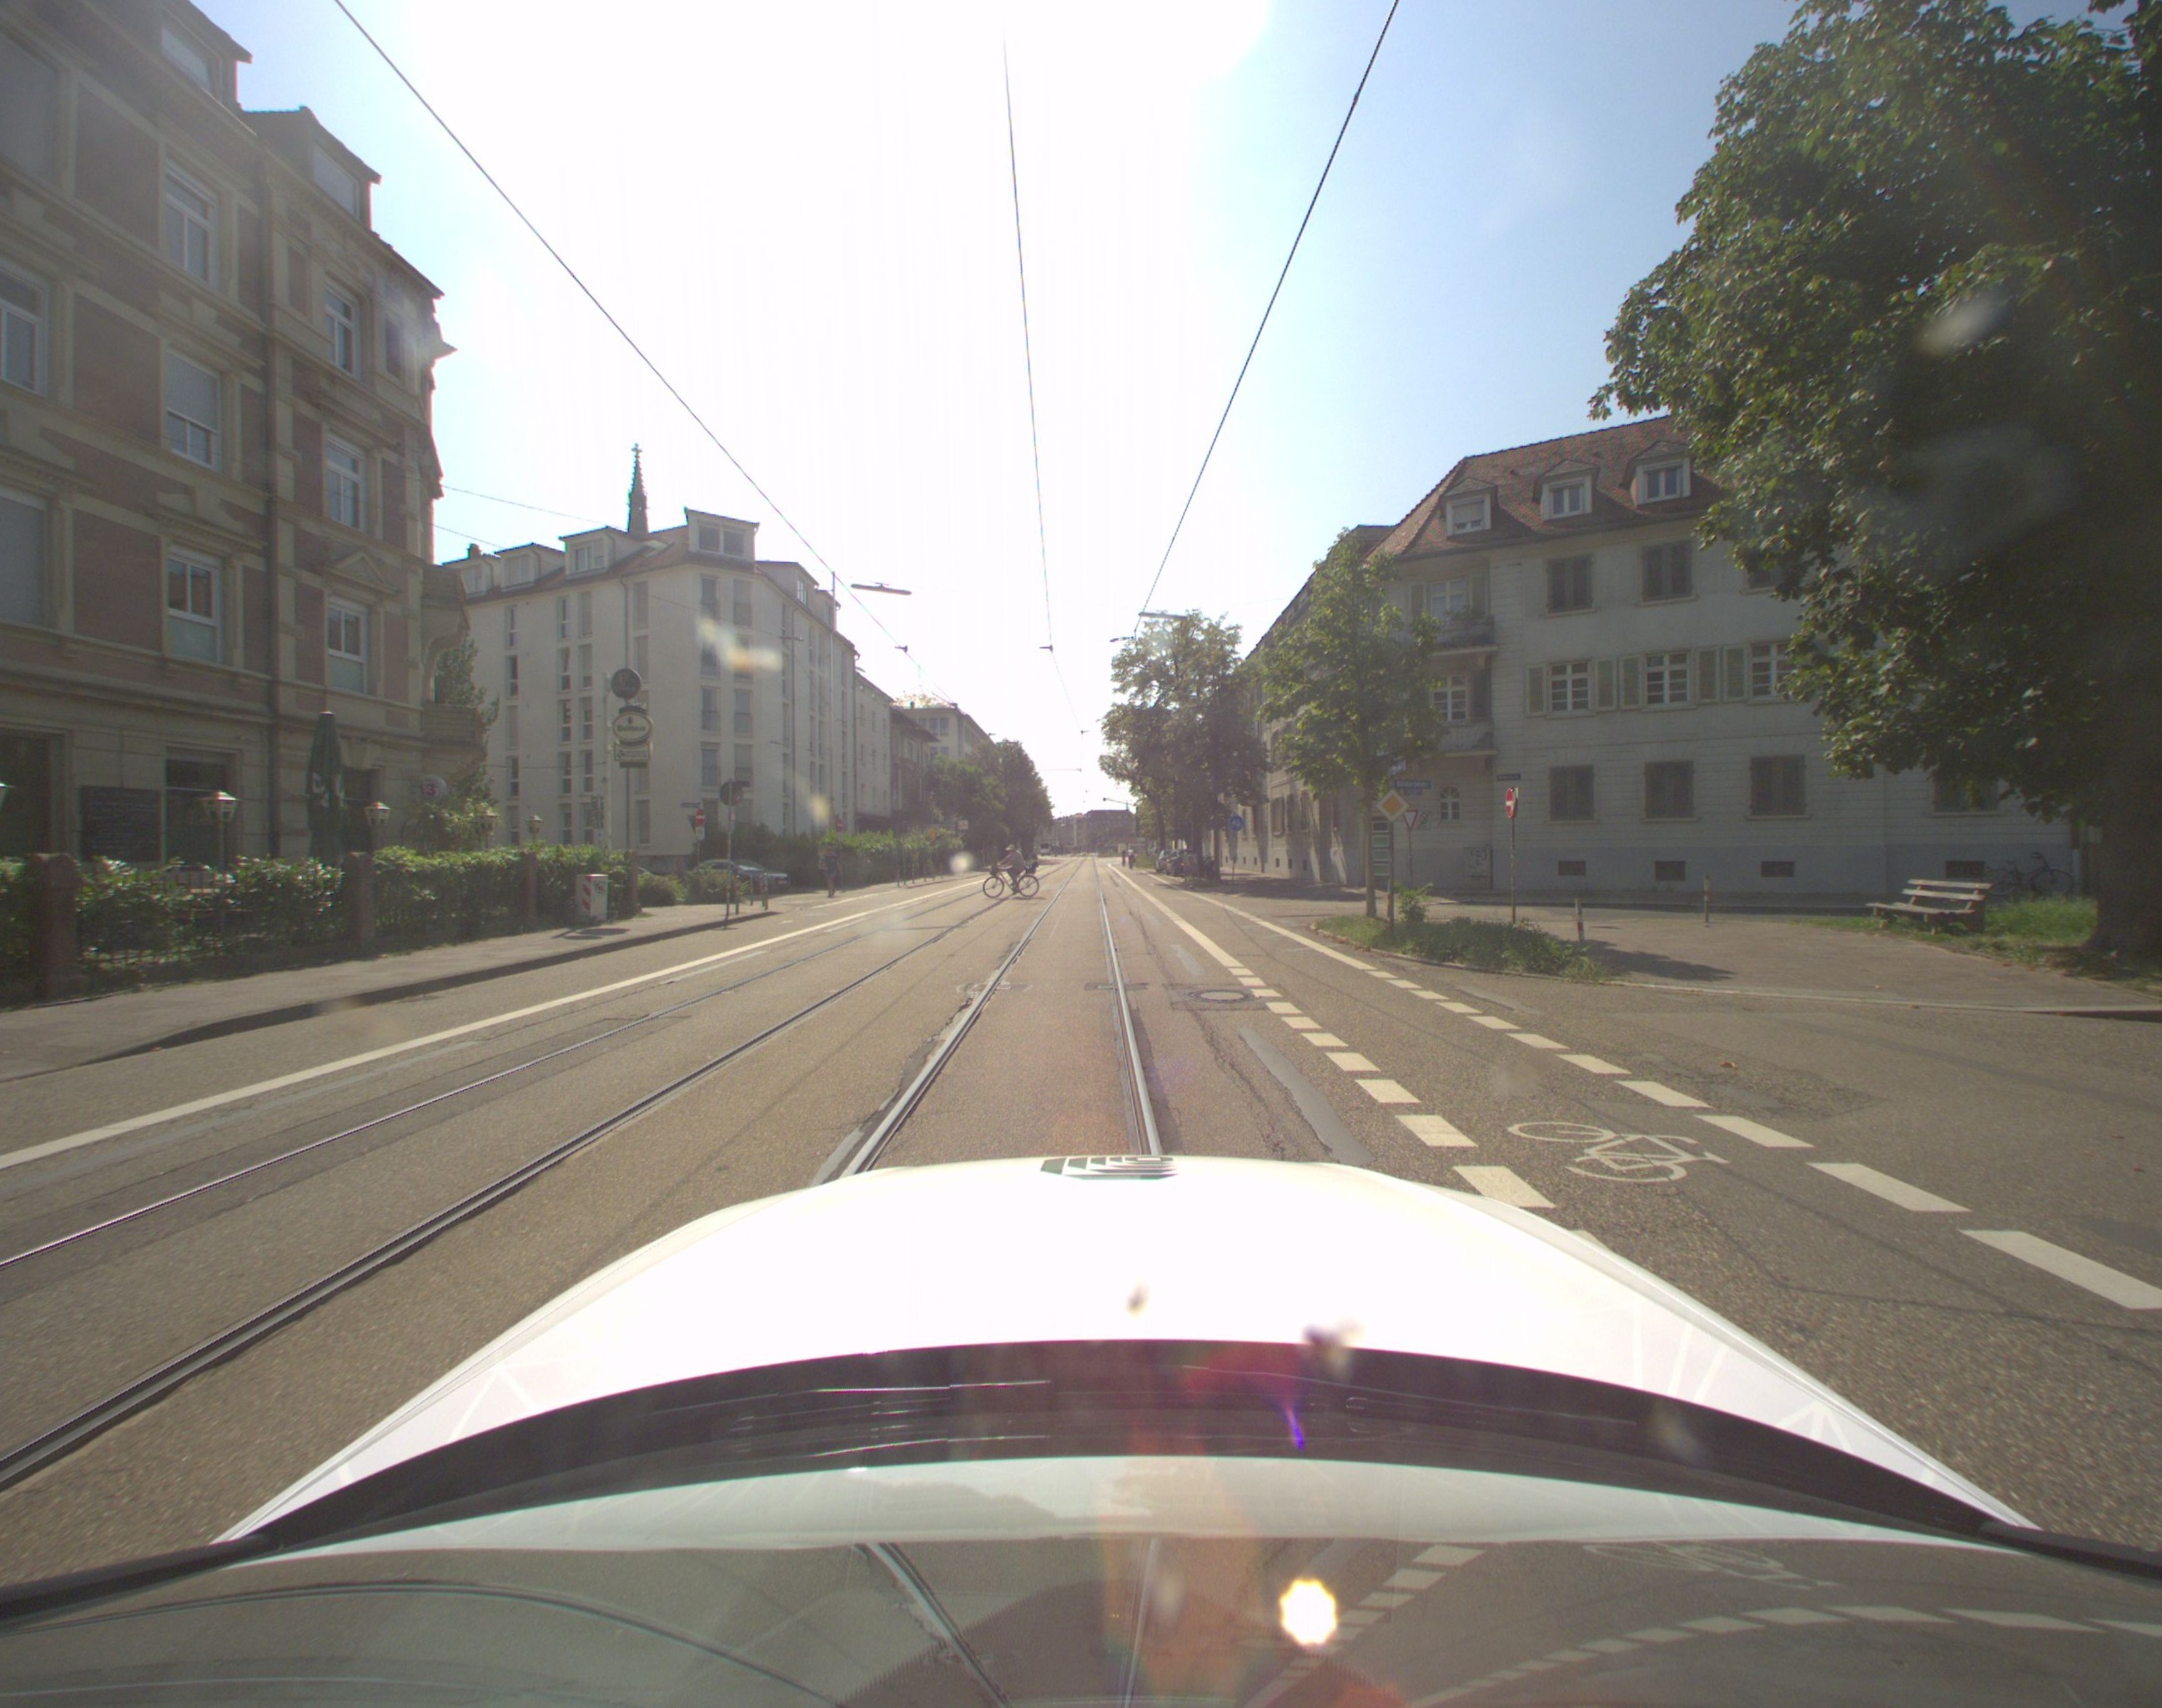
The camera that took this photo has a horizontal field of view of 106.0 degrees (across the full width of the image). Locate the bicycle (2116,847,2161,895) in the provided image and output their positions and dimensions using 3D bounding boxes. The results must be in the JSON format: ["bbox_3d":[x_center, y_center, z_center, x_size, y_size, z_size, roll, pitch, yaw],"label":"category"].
[{"bbox_3d":[25.691,0.398,19.005,1.001,1.118,2.287,0,0,26],"label":"bicycle"}]

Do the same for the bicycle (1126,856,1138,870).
[{"bbox_3d":[3.957,0.693,63.331,0.756,0.991,2.298,-1,0,1],"label":"bicycle"}]

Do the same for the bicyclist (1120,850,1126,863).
[{"bbox_3d":[3.933,0.232,75.953,0.576,1.279,0.471,-1,0,3],"label":"bicyclist"}]

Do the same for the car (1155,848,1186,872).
[{"bbox_3d":[5.702,0.400,52.267,1.579,1.464,3.465,-1,-1,-1],"label":"car"}]

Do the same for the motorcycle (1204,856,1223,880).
[{"bbox_3d":[6.112,0.633,37.683,0.547,1.068,2.331,-1,0,1],"label":"motorcycle"}]

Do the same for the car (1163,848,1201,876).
[{"bbox_3d":[5.518,0.450,44.816,1.579,1.464,3.413,-1,-1,-1],"label":"car"}]

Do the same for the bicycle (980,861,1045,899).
[{"bbox_3d":[-2.206,0.812,26.127,2.033,1.151,0.783,-1,0,-8],"label":"bicycle"}]

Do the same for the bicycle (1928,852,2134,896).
[{"bbox_3d":[23.797,0.474,20.528,3.174,1.029,1.170,0,0,26],"label":"bicycle"}]

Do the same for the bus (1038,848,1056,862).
[{"bbox_3d":[-8.485,0.164,203.556,3.723,3.364,15.118,-1,0,0],"label":"bus"}]

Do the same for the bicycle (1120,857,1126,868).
[{"bbox_3d":[3.948,0.773,76.045,0.585,0.939,2.173,-1,0,3],"label":"bicycle"}]

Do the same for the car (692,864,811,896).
[{"bbox_3d":[-13.491,1.062,33.367,4.194,1.184,2.010,-2,-1,20],"label":"car"}]

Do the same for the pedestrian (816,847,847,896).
[{"bbox_3d":[-9.244,0.651,30.222,0.777,1.756,1.040,-1,0,1],"label":"pedestrian"}]

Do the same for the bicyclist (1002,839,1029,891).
[{"bbox_3d":[-2.107,0.338,26.143,0.823,1.642,0.783,-1,0,-8],"label":"bicyclist"}]

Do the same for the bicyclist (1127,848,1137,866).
[{"bbox_3d":[3.946,0.204,63.115,0.756,1.391,0.779,-1,0,1],"label":"bicyclist"}]
